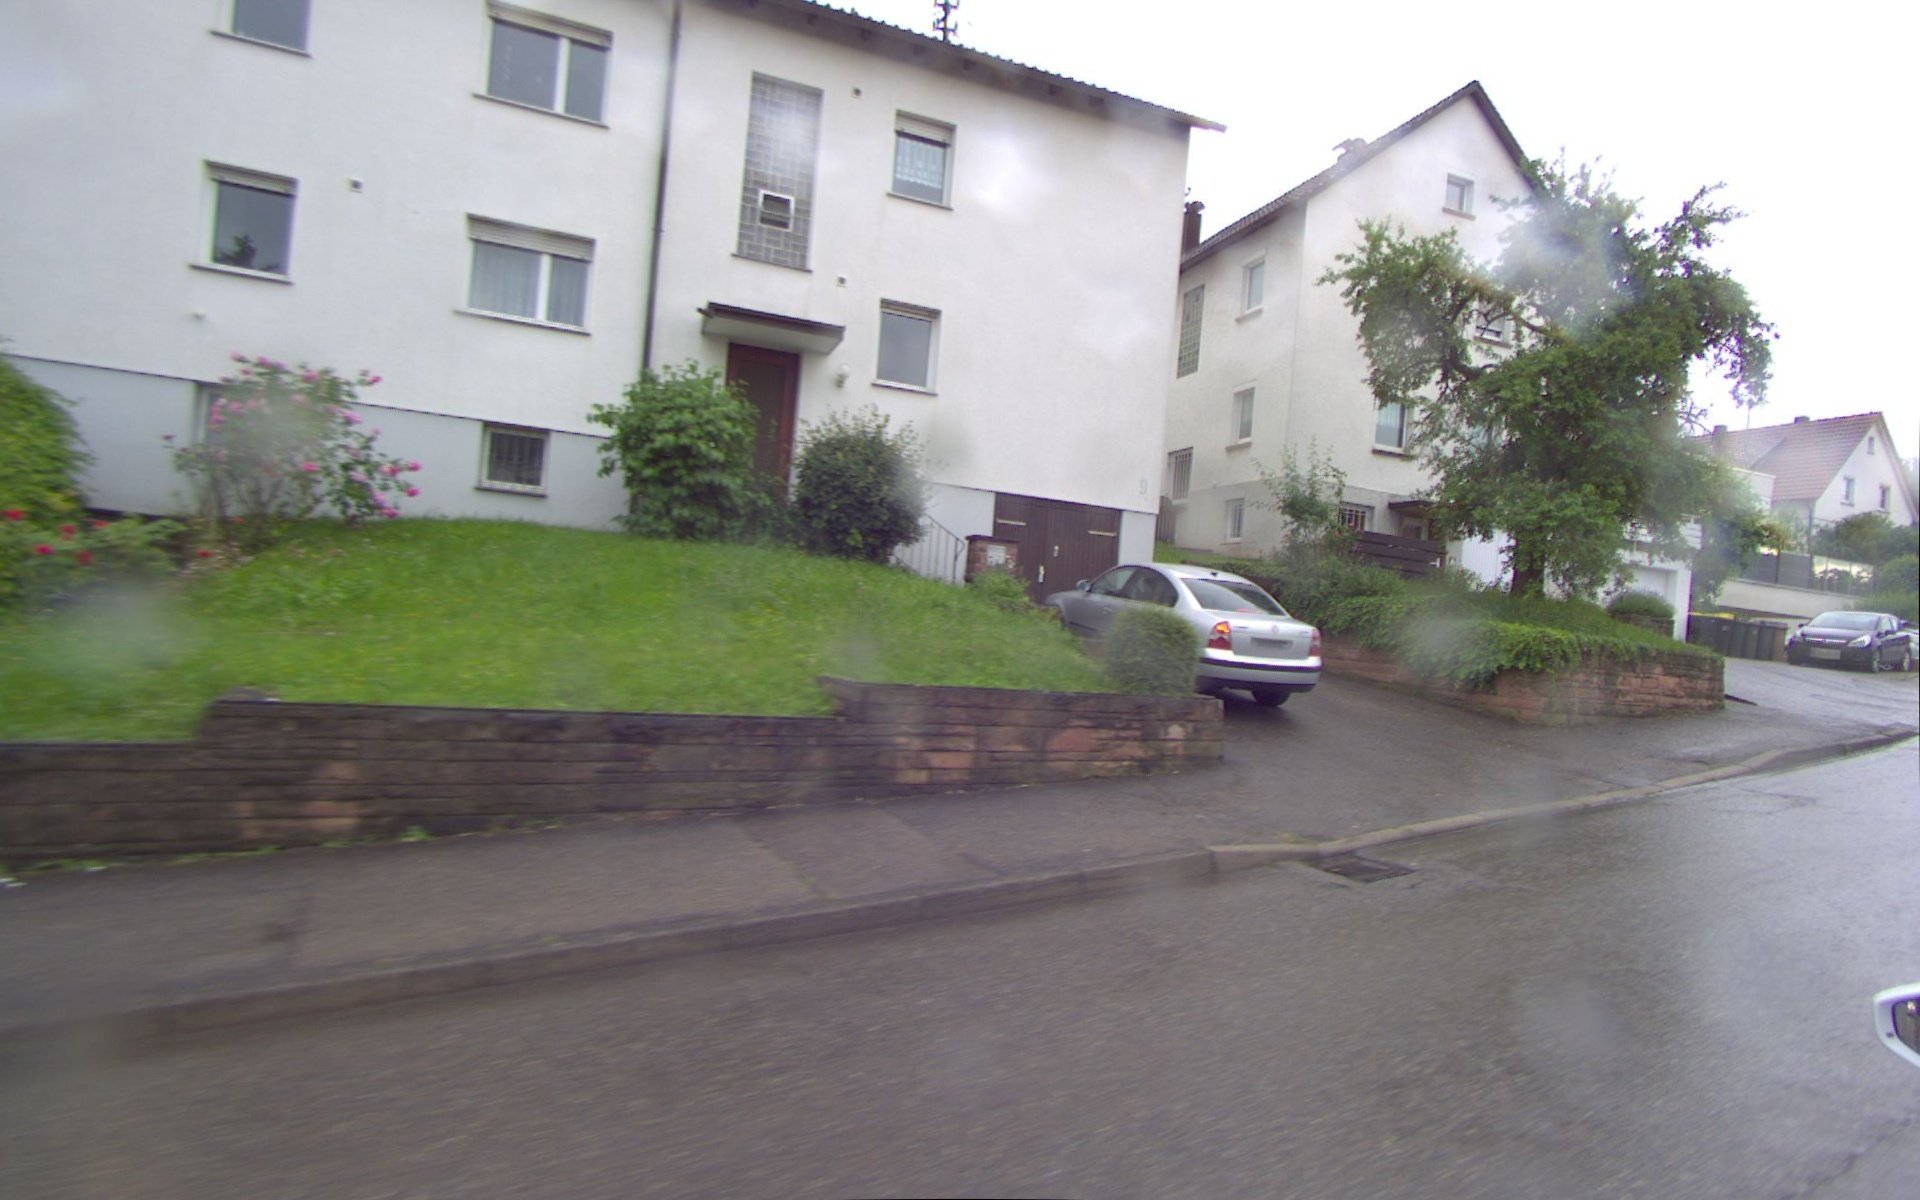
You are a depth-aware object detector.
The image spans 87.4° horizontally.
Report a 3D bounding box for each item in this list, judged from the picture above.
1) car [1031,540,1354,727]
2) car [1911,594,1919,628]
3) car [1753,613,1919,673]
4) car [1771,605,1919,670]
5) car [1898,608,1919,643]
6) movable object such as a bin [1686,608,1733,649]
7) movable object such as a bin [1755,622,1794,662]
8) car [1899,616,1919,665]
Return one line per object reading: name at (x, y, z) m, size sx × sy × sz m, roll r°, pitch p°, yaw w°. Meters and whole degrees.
car at (2.579, 0.266, 12.367) m, size 1.740 × 1.451 × 4.245 m, roll 3°, pitch 8°, yaw -20°
car at (50.373, 0.756, 49.905) m, size 1.870 × 1.715 × 4.039 m, roll 3°, pitch 4°, yaw -27°
car at (25.833, 1.316, 29.278) m, size 1.779 × 1.496 × 3.817 m, roll 2°, pitch -6°, yaw -25°
car at (22.450, 0.947, 25.429) m, size 4.203 × 1.395 × 1.755 m, roll 2°, pitch 3°, yaw -34°
car at (55.136, 1.471, 54.997) m, size 2.112 × 1.970 × 5.071 m, roll 2°, pitch 0°, yaw -24°
movable object such as a bin at (19.795, 0.742, 26.526) m, size 0.691 × 1.071 × 0.748 m, roll 1°, pitch -1°, yaw -25°
movable object such as a bin at (23.016, 1.182, 28.382) m, size 0.549 × 1.092 × 0.652 m, roll 1°, pitch 0°, yaw -19°
car at (33.320, 1.389, 34.009) m, size 4.383 × 1.618 × 1.787 m, roll 2°, pitch -1°, yaw -41°
